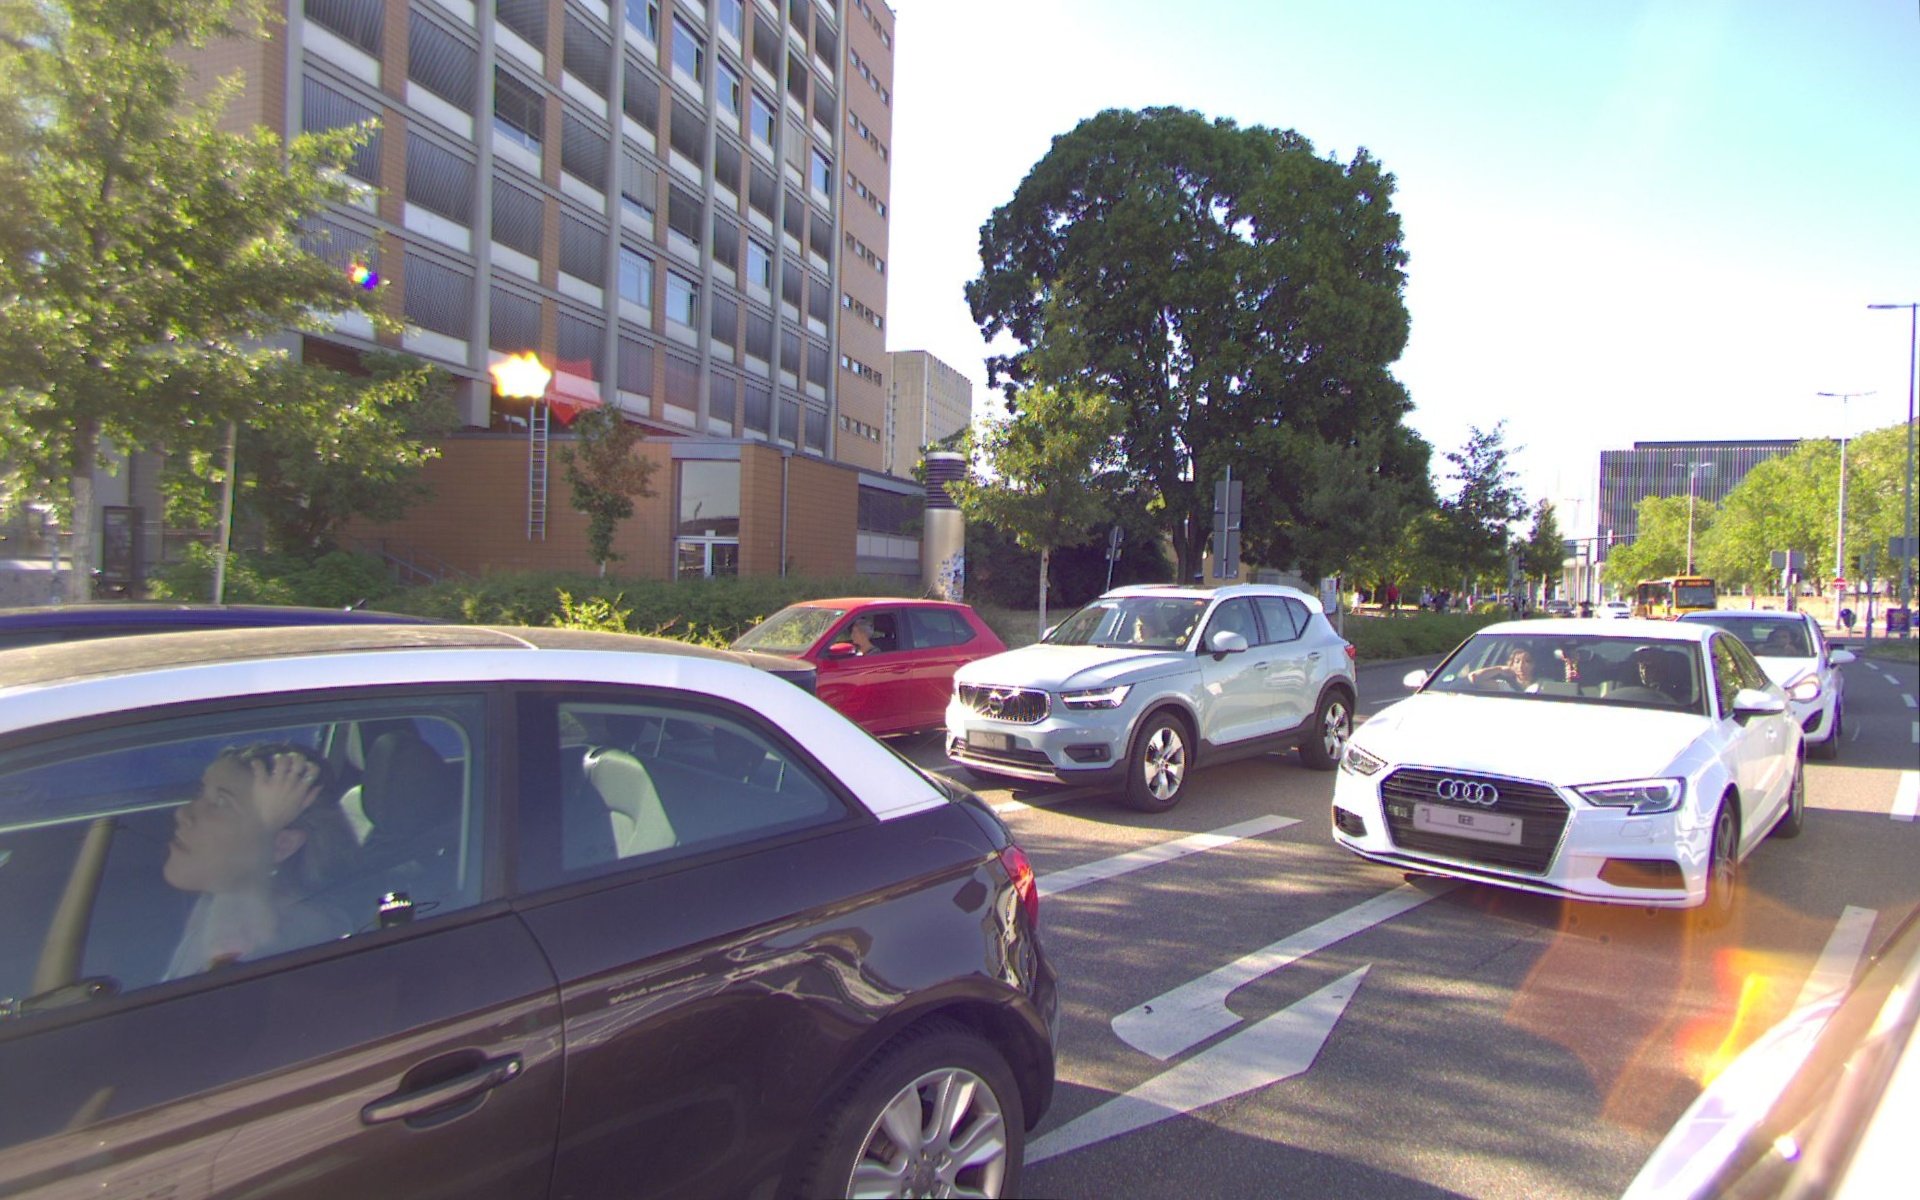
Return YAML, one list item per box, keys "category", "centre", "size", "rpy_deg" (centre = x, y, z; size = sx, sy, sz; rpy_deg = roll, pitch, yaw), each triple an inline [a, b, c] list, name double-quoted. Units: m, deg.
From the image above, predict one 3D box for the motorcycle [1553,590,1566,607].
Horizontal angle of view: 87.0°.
- category: "motorcycle"
  centre: [47.494, -0.162, 80.185]
  size: [0.710, 1.321, 2.216]
  rpy_deg: [0, 0, 25]

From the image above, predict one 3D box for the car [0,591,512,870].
- category: "car"
  centre: [-5.279, 0.671, 6.078]
  size: [4.434, 1.422, 1.725]
  rpy_deg: [-1, 1, -42]

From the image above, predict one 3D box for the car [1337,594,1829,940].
- category: "car"
  centre: [3.946, 0.689, 6.134]
  size: [3.769, 1.422, 1.625]
  rpy_deg: [-1, 0, -43]

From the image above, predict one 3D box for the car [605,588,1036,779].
- category: "car"
  centre: [-1.191, 0.630, 9.858]
  size: [3.974, 1.478, 1.625]
  rpy_deg: [-1, 0, -43]

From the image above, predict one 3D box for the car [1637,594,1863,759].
- category: "car"
  centre: [8.873, 0.688, 11.241]
  size: [1.623, 1.478, 3.979]
  rpy_deg: [0, 0, 43]

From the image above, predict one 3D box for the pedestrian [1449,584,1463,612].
- category: "pedestrian"
  centre: [36.372, -0.118, 74.243]
  size: [0.846, 2.039, 0.824]
  rpy_deg: [0, 0, 34]

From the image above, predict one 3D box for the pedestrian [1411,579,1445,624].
- category: "pedestrian"
  centre: [21.634, 0.076, 46.789]
  size: [1.137, 2.039, 1.268]
  rpy_deg: [0, 0, 39]

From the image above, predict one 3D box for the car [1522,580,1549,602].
- category: "car"
  centre: [48.749, -0.765, 85.785]
  size: [1.730, 1.727, 3.962]
  rpy_deg: [2, 1, 27]

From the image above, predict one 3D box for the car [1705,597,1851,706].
- category: "car"
  centre: [13.110, 0.709, 16.137]
  size: [1.622, 1.478, 3.981]
  rpy_deg: [0, 0, 42]

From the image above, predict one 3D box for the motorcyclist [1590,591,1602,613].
- category: "motorcyclist"
  centre: [48.733, 0.145, 77.572]
  size: [0.704, 1.610, 0.684]
  rpy_deg: [0, 0, 25]

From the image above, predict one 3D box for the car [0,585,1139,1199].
- category: "car"
  centre: [-1.584, 0.693, 1.731]
  size: [3.930, 1.422, 1.626]
  rpy_deg: [-1, 0, -41]

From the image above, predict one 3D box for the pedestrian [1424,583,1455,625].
- category: "pedestrian"
  centre: [20.169, 0.165, 42.533]
  size: [1.005, 1.742, 0.873]
  rpy_deg: [0, 0, 39]

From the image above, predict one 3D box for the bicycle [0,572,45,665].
- category: "bicycle"
  centre: [-11.215, 0.202, 10.867]
  size: [0.658, 0.975, 2.005]
  rpy_deg: [6, 4, 41]

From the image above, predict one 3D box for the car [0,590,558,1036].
- category: "car"
  centre: [-3.759, 0.685, 3.735]
  size: [3.930, 1.422, 1.626]
  rpy_deg: [-1, 0, -41]

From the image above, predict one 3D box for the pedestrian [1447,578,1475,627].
- category: "pedestrian"
  centre: [21.236, 0.115, 42.898]
  size: [0.891, 2.039, 0.870]
  rpy_deg: [0, 0, 39]

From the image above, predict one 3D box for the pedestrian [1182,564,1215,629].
- category: "pedestrian"
  centre: [6.023, -0.103, 25.547]
  size: [0.593, 1.615, 0.586]
  rpy_deg: [0, 0, 41]

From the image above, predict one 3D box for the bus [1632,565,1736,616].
- category: "bus"
  centre: [50.504, -0.666, 71.053]
  size: [3.051, 3.252, 12.451]
  rpy_deg: [0, 0, 22]

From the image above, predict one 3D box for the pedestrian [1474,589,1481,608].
- category: "pedestrian"
  centre: [48.346, -0.124, 94.459]
  size: [0.475, 1.706, 0.399]
  rpy_deg: [1, 1, -41]

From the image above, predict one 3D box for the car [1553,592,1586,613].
- category: "car"
  centre: [43.943, 0.171, 72.982]
  size: [1.740, 1.478, 4.149]
  rpy_deg: [0, 0, 27]

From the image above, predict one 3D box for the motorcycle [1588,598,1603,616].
- category: "motorcycle"
  centre: [48.790, 0.533, 77.688]
  size: [0.711, 1.321, 2.215]
  rpy_deg: [0, 0, 26]

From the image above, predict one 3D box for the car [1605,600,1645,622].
- category: "car"
  centre: [46.453, 0.748, 70.788]
  size: [1.738, 1.478, 4.153]
  rpy_deg: [0, 0, 25]

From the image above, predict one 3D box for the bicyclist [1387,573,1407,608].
- category: "bicyclist"
  centre: [20.231, -0.435, 46.812]
  size: [0.615, 1.580, 0.858]
  rpy_deg: [0, 0, 41]

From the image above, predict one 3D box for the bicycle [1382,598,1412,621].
- category: "bicycle"
  centre: [20.226, 0.411, 46.804]
  size: [0.657, 0.975, 2.005]
  rpy_deg: [2, 2, 41]

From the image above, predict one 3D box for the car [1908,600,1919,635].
- category: "car"
  centre: [56.088, 1.016, 56.930]
  size: [1.965, 2.039, 3.994]
  rpy_deg: [0, 0, 5]

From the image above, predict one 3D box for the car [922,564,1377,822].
- category: "car"
  centre: [1.774, 0.569, 8.474]
  size: [4.153, 1.641, 1.625]
  rpy_deg: [-1, 0, -43]
